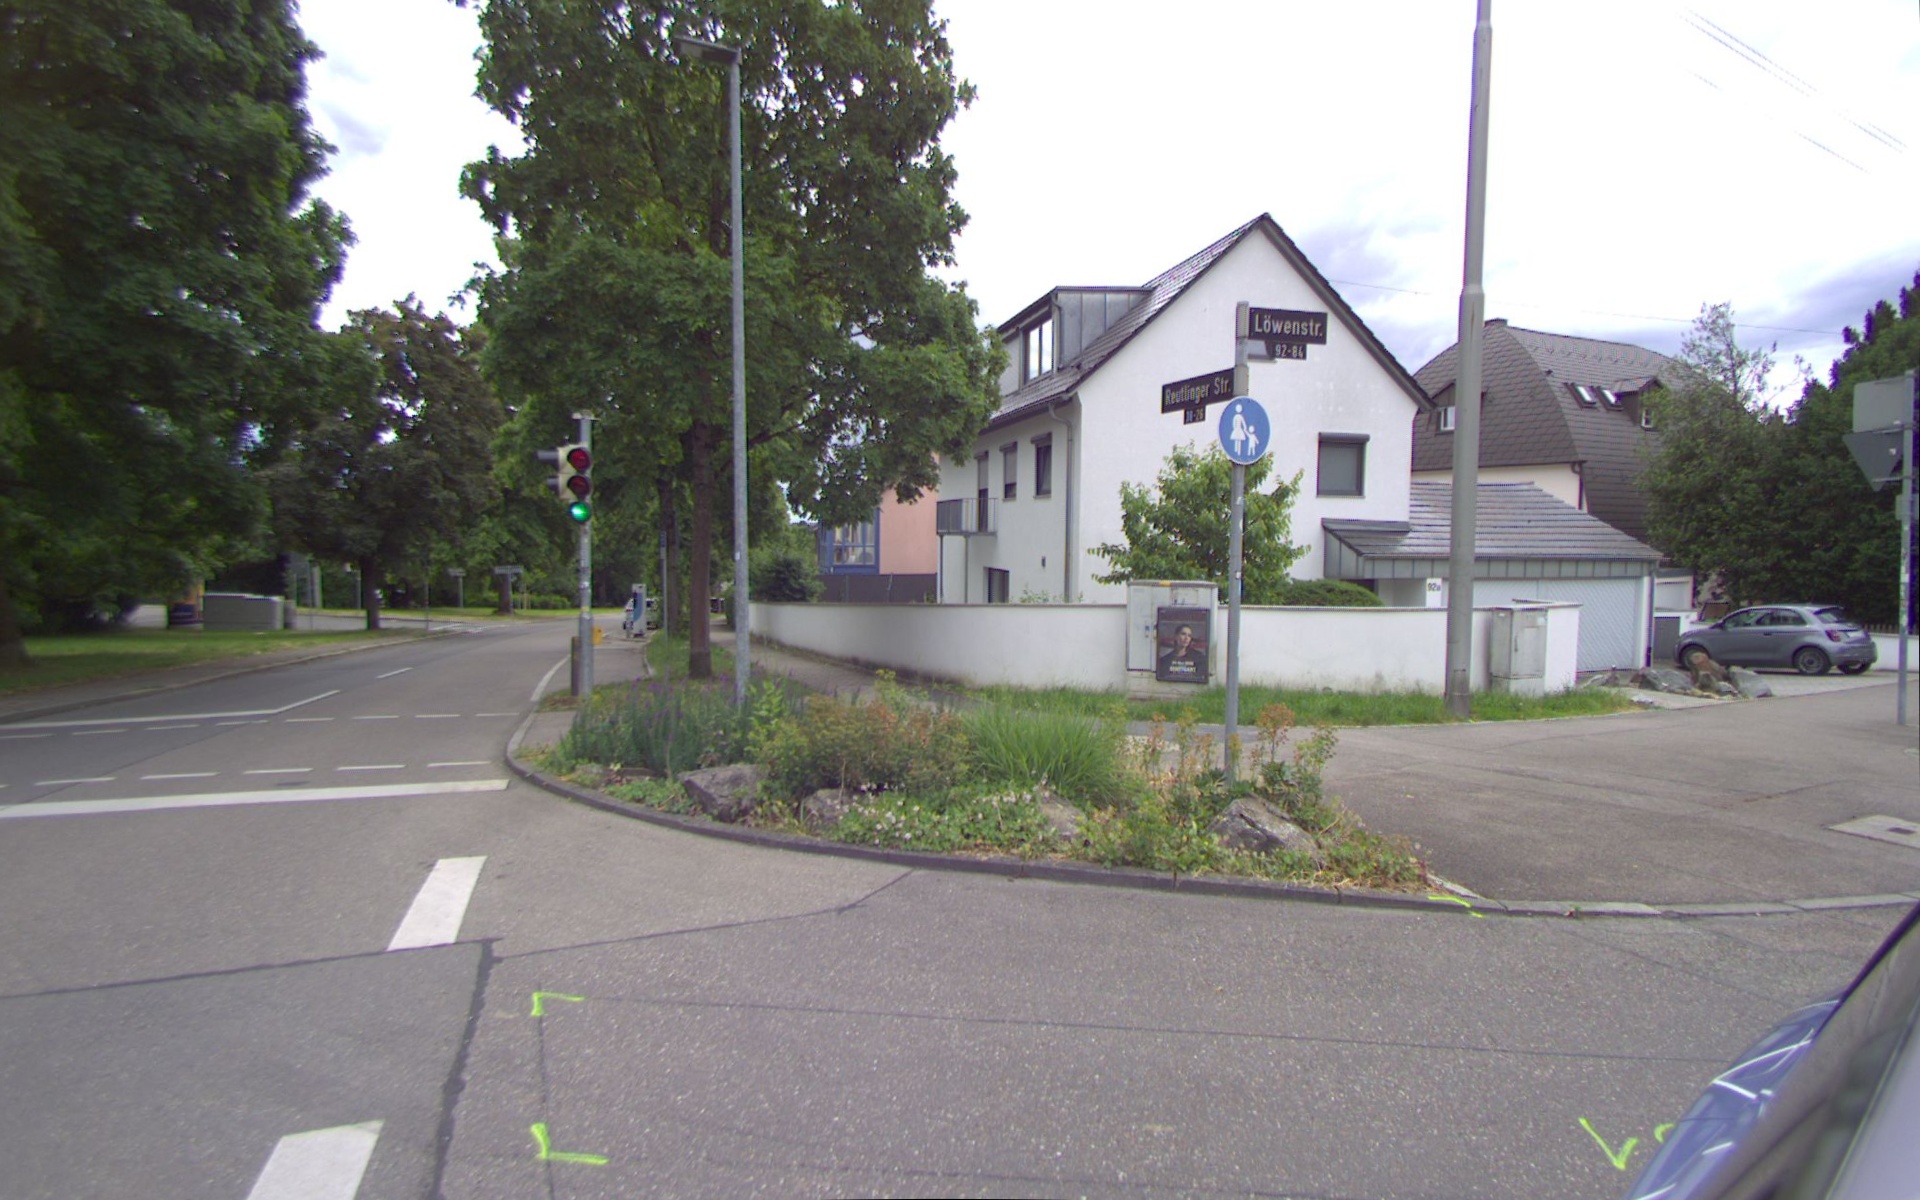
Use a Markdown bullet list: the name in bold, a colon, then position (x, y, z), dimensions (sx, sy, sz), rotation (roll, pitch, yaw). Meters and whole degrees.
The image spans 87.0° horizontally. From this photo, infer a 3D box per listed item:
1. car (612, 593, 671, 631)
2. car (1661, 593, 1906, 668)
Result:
- **car**: position (-15.314, 0.529, 48.918), dimensions (1.960, 1.571, 4.006), rotation (1, 2, -6)
- **car**: position (18.092, 0.669, 22.460), dimensions (1.657, 1.516, 3.865), rotation (1, -2, -22)
